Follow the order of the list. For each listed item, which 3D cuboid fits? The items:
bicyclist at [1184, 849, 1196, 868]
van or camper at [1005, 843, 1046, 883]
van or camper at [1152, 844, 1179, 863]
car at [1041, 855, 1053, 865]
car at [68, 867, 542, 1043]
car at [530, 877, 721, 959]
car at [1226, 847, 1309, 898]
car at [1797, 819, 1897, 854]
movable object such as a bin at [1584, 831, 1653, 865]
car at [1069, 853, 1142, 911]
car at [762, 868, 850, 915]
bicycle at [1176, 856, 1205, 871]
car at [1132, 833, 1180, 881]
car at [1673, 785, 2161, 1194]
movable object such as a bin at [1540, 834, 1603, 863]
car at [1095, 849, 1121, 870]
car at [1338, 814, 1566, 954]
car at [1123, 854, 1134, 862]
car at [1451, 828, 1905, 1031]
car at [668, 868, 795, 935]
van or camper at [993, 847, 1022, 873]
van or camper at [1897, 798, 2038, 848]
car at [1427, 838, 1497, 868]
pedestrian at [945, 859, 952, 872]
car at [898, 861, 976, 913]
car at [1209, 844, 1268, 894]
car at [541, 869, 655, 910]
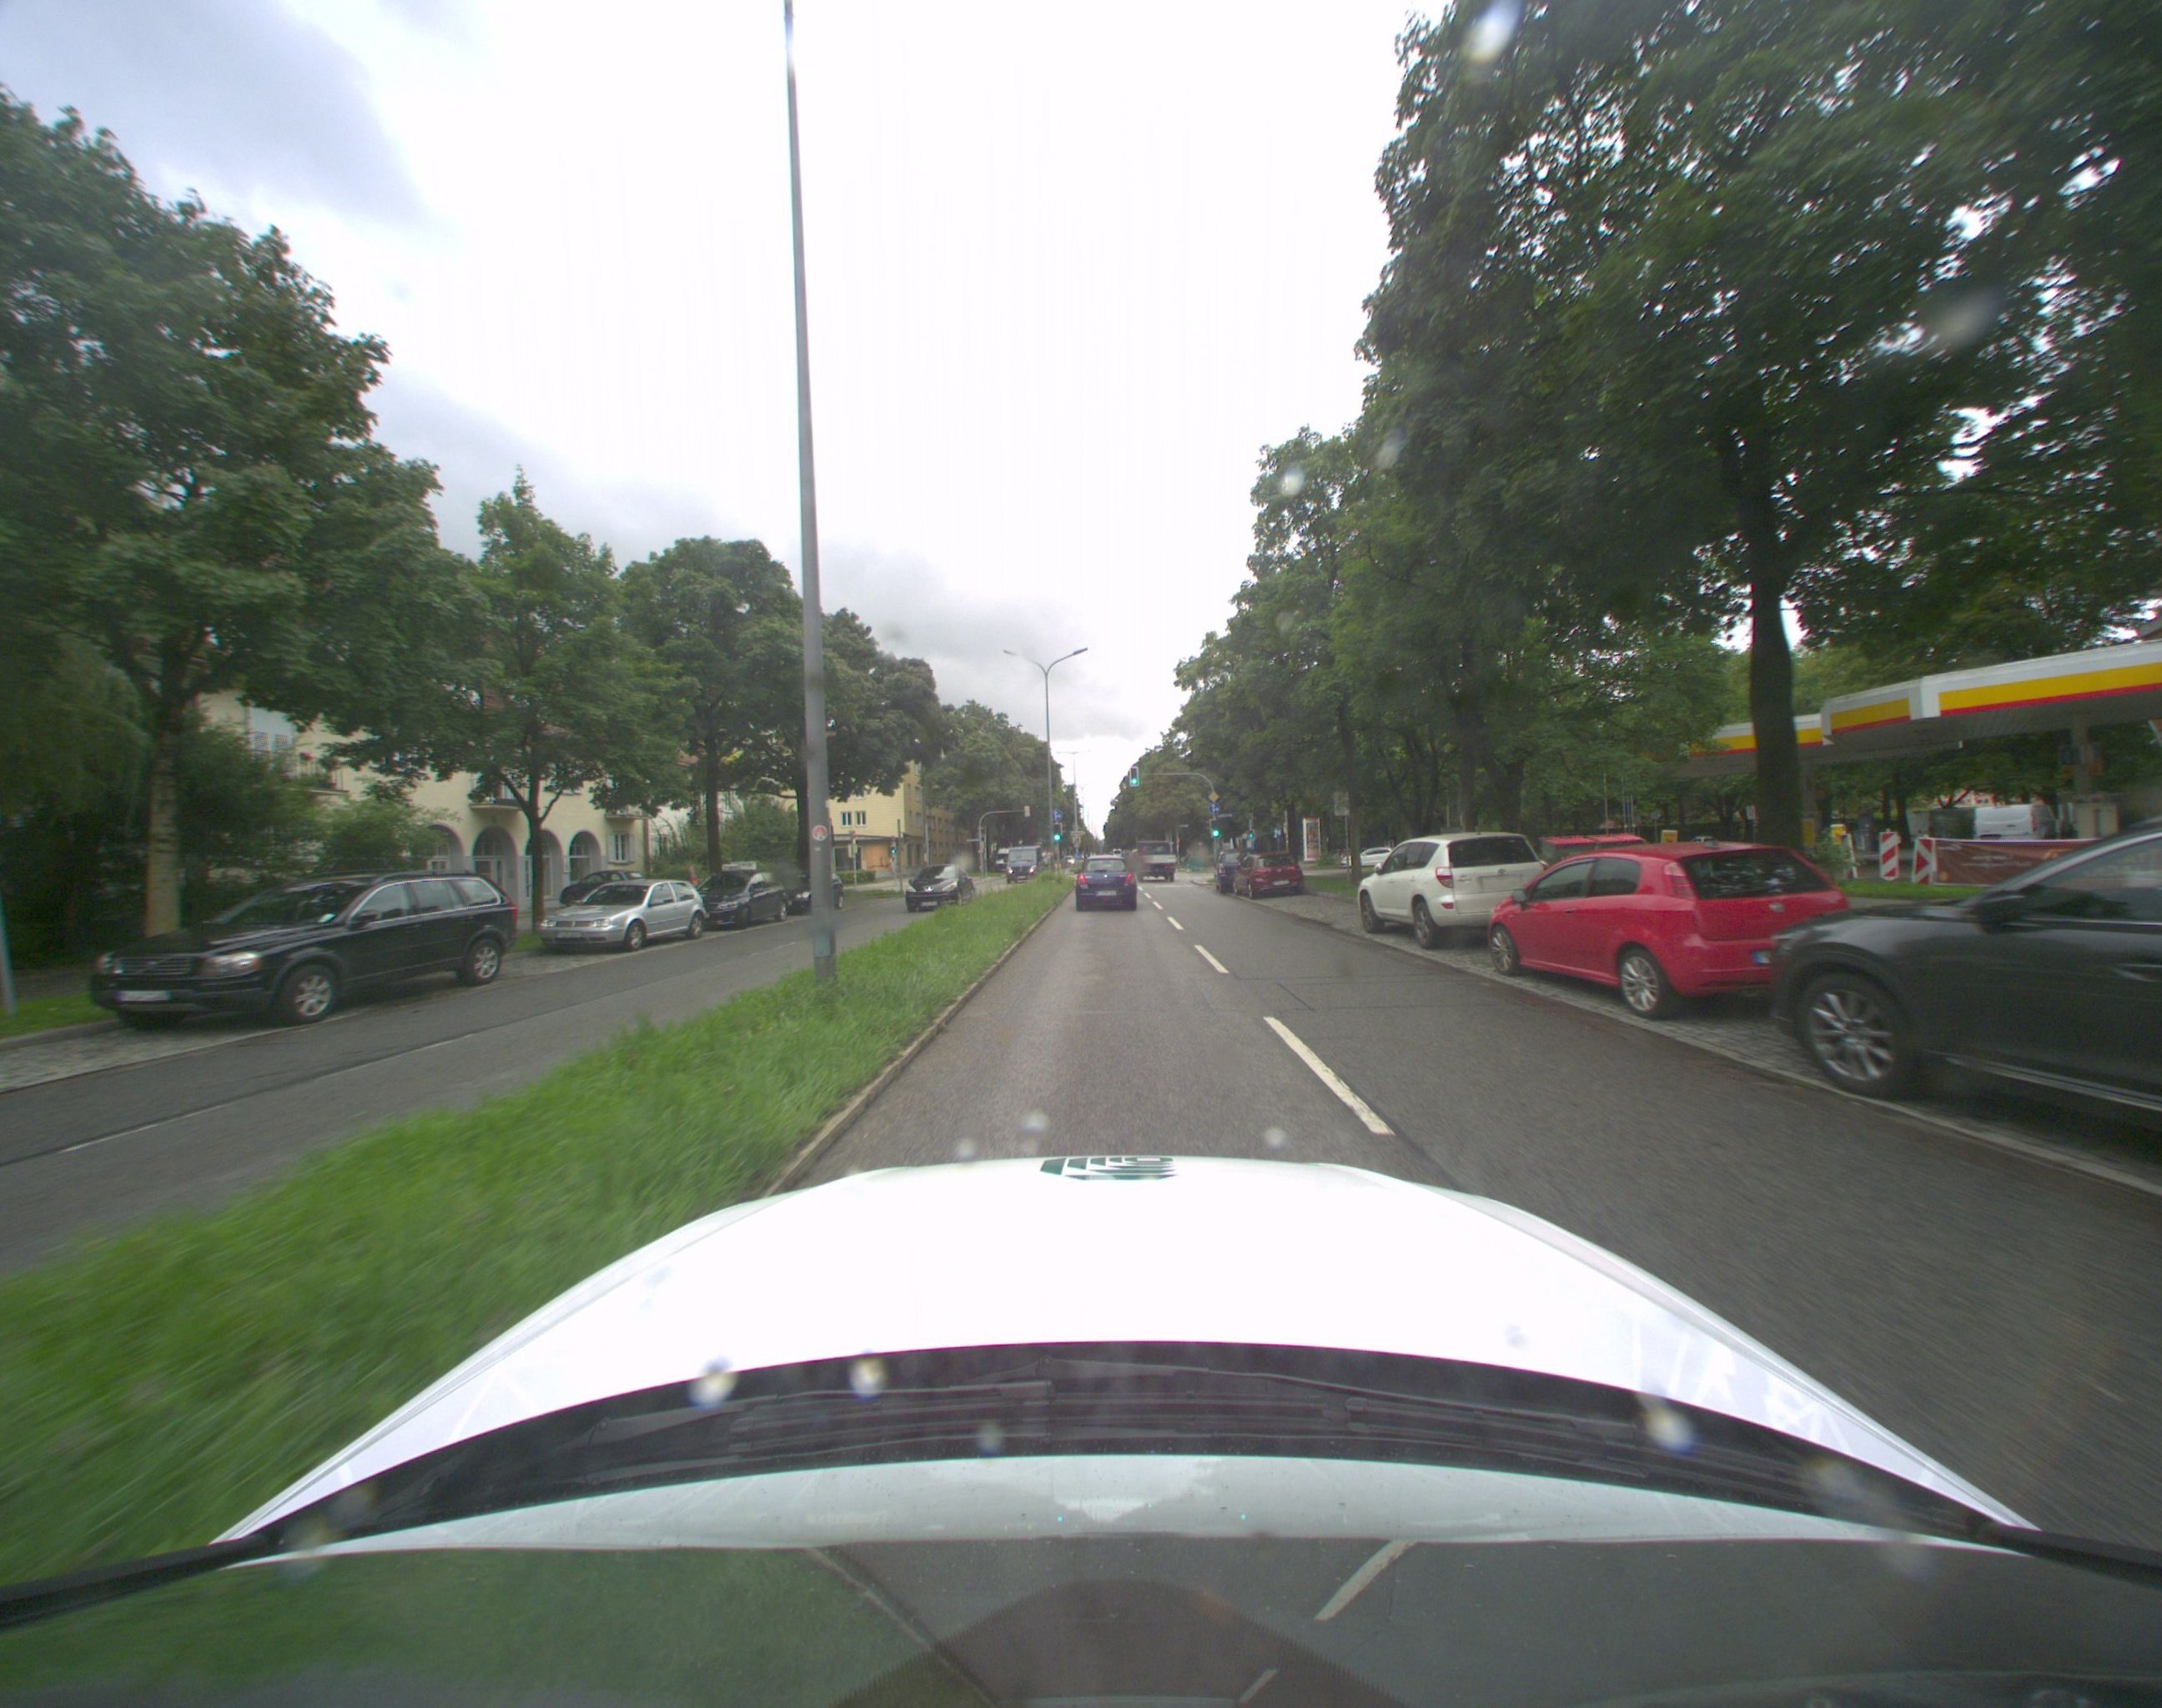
[{"bbox_3d":[8.827,0.353,65.965,0.927,1.479,0.991,-1,0,3],"label":"bicyclist"},{"bbox_3d":[-3.427,0.536,51.568,2.016,2.260,6.022,-3,0,1],"label":"van or camper"},{"bbox_3d":[8.514,-0.028,82.297,2.119,1.794,4.505,-1,0,-2],"label":"van or camper"},{"bbox_3d":[-5.431,0.993,131.800,1.630,1.442,3.736,-3,0,2],"label":"car"},{"bbox_3d":[-9.946,1.121,11.225,1.792,1.763,5.053,0,0,-2],"label":"car"},{"bbox_3d":[-9.825,1.311,18.013,1.660,1.445,4.376,0,0,1],"label":"car"},{"bbox_3d":[6.211,0.586,27.610,1.707,1.424,4.283,-6,0,0],"label":"car"},{"bbox_3d":[45.863,-1.020,48.838,4.008,1.610,1.773,-6,0,8],"label":"car"},{"bbox_3d":[25.575,-0.283,38.789,2.053,1.486,1.838,-3,0,2],"label":"movable object such as a bin"},{"bbox_3d":[0.634,0.746,23.465,1.891,1.499,3.658,-1,0,-1],"label":"car"},{"bbox_3d":[-9.566,1.247,28.597,1.557,1.450,3.841,0,0,3],"label":"car"},{"bbox_3d":[8.849,0.775,65.963,2.288,1.114,0.997,-1,0,2],"label":"bicycle"},{"bbox_3d":[4.051,0.173,44.852,2.408,2.444,5.091,-1,0,3],"label":"car"},{"bbox_3d":[5.362,0.517,3.560,1.754,1.698,5.232,-4,0,2],"label":"car"},{"bbox_3d":[23.354,-0.257,38.828,2.052,1.263,1.532,-3,0,1],"label":"movable object such as a bin"},{"bbox_3d":[1.982,0.401,59.978,1.792,1.499,3.661,-1,0,2],"label":"car"},{"bbox_3d":[5.900,0.417,13.664,1.754,1.830,4.530,-4,0,1],"label":"car"},{"bbox_3d":[9.088,0.773,155.787,1.781,1.499,3.658,-1,0,-2],"label":"car"},{"bbox_3d":[5.732,0.605,8.613,1.754,1.506,4.145,-4,0,1],"label":"car"},{"bbox_3d":[-9.604,1.243,22.747,1.661,1.562,4.298,-2,0,-1],"label":"car"},{"bbox_3d":[-7.700,0.596,85.939,2.132,2.476,6.262,-3,0,2],"label":"van or camper"},{"bbox_3d":[52.569,-1.814,48.424,5.060,2.361,2.567,-6,0,8],"label":"van or camper"},{"bbox_3d":[26.360,-0.097,56.493,3.858,1.610,1.937,-6,0,8],"label":"car"},{"bbox_3d":[-14.469,1.260,88.754,0.626,1.440,0.806,-1,-1,2],"label":"pedestrian"},{"bbox_3d":[-4.619,1.009,26.720,1.732,1.442,4.102,-3,0,0],"label":"car"},{"bbox_3d":[6.177,0.531,32.387,1.754,1.658,4.290,-6,0,6],"label":"car"},{"bbox_3d":[-19.894,1.456,33.662,3.622,1.462,1.671,-2,0,-1],"label":"car"}]
